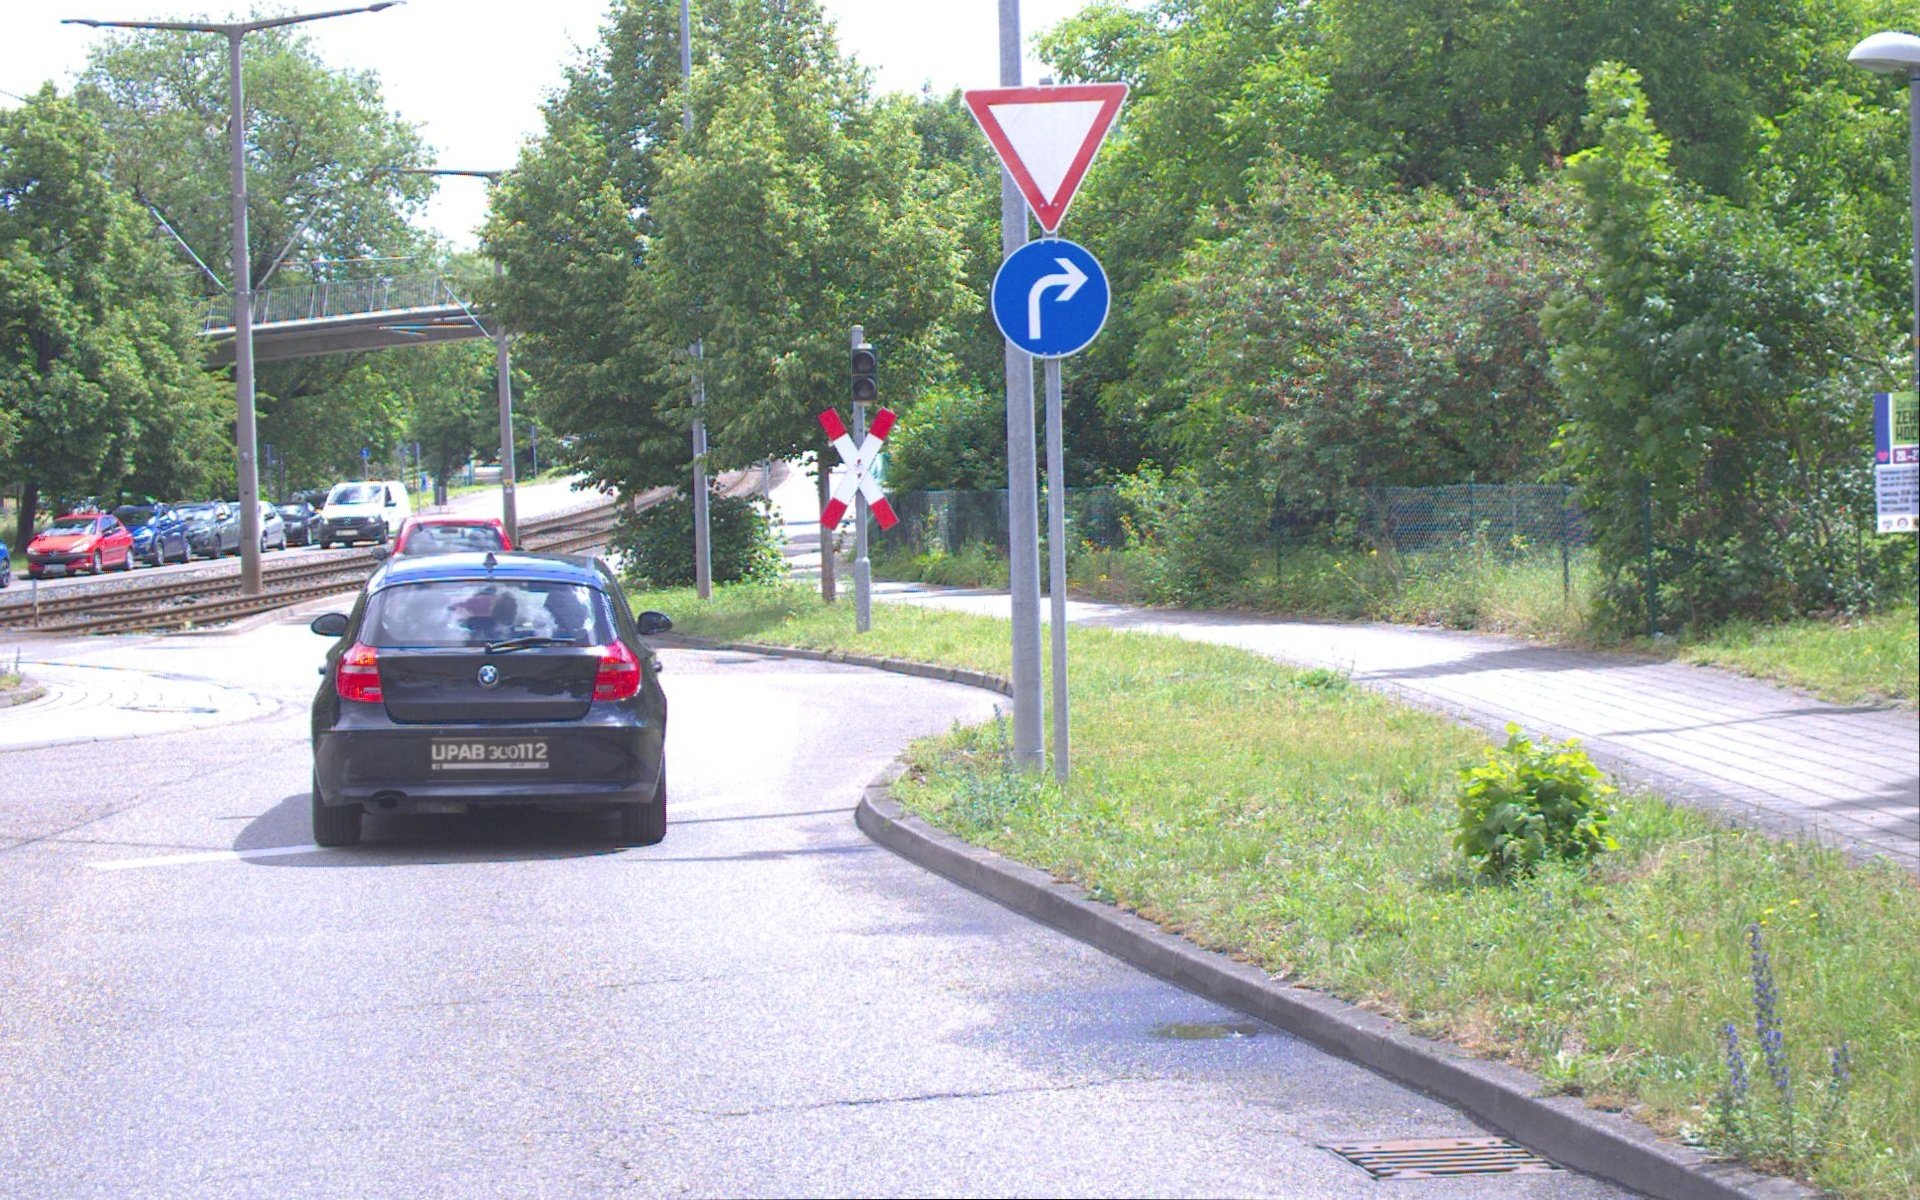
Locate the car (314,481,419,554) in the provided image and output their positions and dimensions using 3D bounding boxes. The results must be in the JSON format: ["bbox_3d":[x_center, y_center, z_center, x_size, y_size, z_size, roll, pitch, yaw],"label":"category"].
[{"bbox_3d":[-16.987,-2.384,98.514,1.994,2.006,4.000,-1,2,4],"label":"car"}]

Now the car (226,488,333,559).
[{"bbox_3d":[-20.440,-2.320,103.412,1.994,2.006,4.000,-1,2,7],"label":"car"}]

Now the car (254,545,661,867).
[{"bbox_3d":[-2.555,0.489,17.863,1.815,1.416,4.001,-2,0,-7],"label":"car"}]

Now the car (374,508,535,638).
[{"bbox_3d":[-6.020,-0.321,41.010,1.765,1.427,3.479,-2,1,-8],"label":"car"}]

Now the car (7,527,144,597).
[{"bbox_3d":[-20.957,-0.925,81.643,1.913,1.556,4.000,-1,1,5],"label":"car"}]

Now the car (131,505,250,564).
[{"bbox_3d":[-20.610,-1.772,92.280,1.994,1.468,4.000,-1,2,4],"label":"car"}]

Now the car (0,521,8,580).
[{"bbox_3d":[-21.281,-0.962,71.245,1.806,1.249,3.568,-1,2,5],"label":"car"}]
